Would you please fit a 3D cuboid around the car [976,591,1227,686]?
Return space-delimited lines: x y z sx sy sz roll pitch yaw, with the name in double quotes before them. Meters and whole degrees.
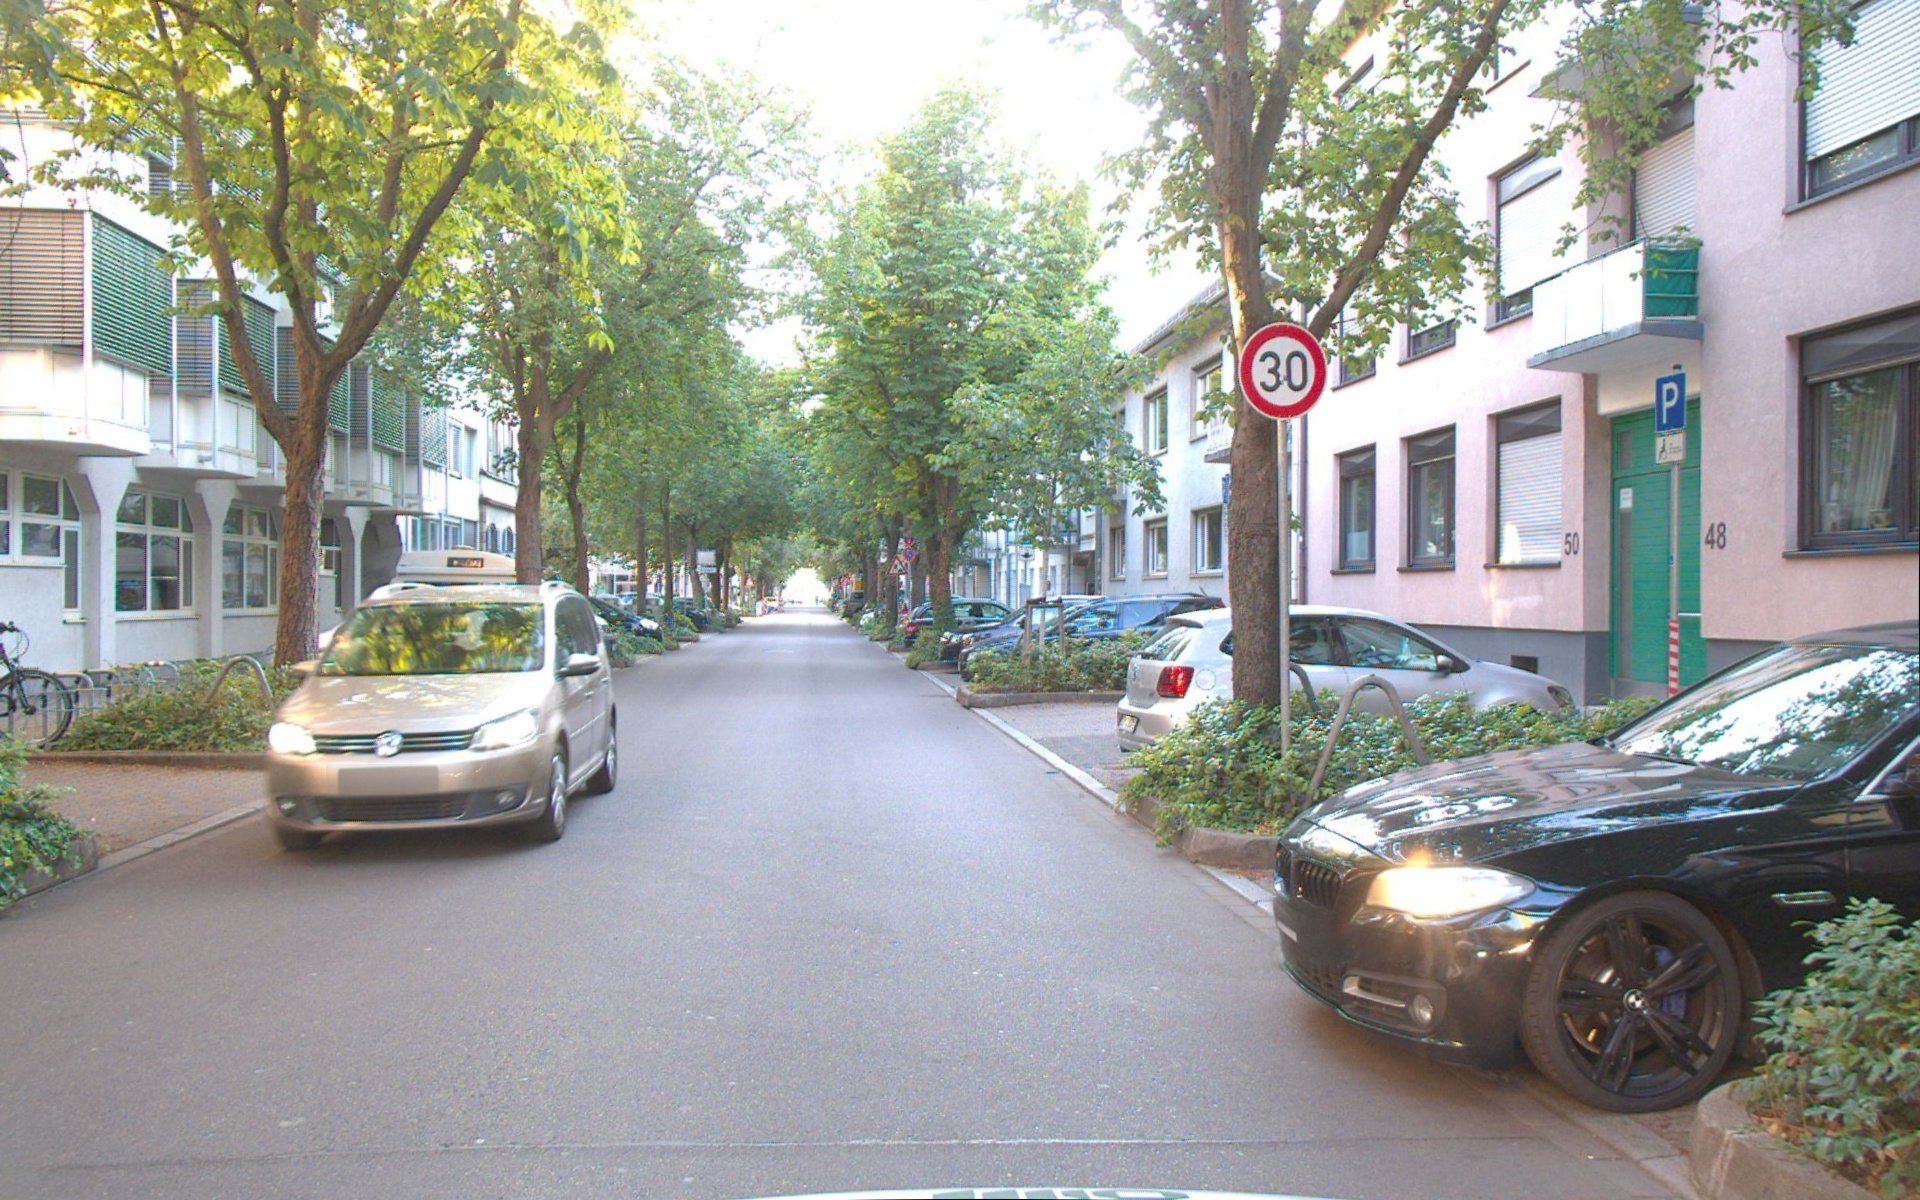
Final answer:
"car" 2.307 0.604 27.539 3.892 1.502 1.782 0 0 -7

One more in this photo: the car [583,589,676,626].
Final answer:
"car" -14.792 0.320 74.265 3.890 1.647 1.783 0 0 -4

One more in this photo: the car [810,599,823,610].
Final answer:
"car" -20.374 0.633 235.468 1.787 1.557 3.996 1 0 -5

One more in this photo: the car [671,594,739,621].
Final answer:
"car" -15.395 0.452 100.072 3.890 1.647 1.783 0 0 -4

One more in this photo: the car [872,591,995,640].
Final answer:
"car" -0.903 0.496 54.759 3.892 1.554 1.782 0 0 -7

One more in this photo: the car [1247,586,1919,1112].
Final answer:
"car" 3.522 0.706 5.858 4.653 1.506 1.798 0 0 -5

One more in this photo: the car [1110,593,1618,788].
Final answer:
"car" 3.315 0.700 13.926 3.835 1.502 1.662 0 0 -7

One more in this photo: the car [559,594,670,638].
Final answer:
"car" -13.055 0.589 62.638 3.890 1.647 1.783 0 0 -4

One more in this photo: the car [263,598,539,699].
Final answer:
"car" -8.968 0.751 26.790 3.890 1.544 1.783 0 0 -5

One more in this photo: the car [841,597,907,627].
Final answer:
"car" -5.135 0.705 98.789 3.890 1.713 1.783 0 0 -4

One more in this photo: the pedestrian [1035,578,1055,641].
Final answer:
"pedestrian" 2.819 0.317 54.711 0.577 2.049 0.669 0 0 -4

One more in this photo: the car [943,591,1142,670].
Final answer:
"car" 1.654 0.609 34.036 3.891 1.554 1.783 0 0 -6

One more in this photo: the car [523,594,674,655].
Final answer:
"car" -10.024 0.673 46.117 3.890 1.647 1.783 0 0 -5

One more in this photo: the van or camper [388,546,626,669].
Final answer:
"van or camper" -9.531 0.138 35.117 4.573 2.521 1.998 0 0 -6

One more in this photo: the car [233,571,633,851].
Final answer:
"car" -3.416 0.622 11.539 1.744 1.589 4.164 0 0 -4

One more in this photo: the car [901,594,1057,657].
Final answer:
"car" 0.465 0.639 42.867 3.891 1.554 1.783 0 0 -6
